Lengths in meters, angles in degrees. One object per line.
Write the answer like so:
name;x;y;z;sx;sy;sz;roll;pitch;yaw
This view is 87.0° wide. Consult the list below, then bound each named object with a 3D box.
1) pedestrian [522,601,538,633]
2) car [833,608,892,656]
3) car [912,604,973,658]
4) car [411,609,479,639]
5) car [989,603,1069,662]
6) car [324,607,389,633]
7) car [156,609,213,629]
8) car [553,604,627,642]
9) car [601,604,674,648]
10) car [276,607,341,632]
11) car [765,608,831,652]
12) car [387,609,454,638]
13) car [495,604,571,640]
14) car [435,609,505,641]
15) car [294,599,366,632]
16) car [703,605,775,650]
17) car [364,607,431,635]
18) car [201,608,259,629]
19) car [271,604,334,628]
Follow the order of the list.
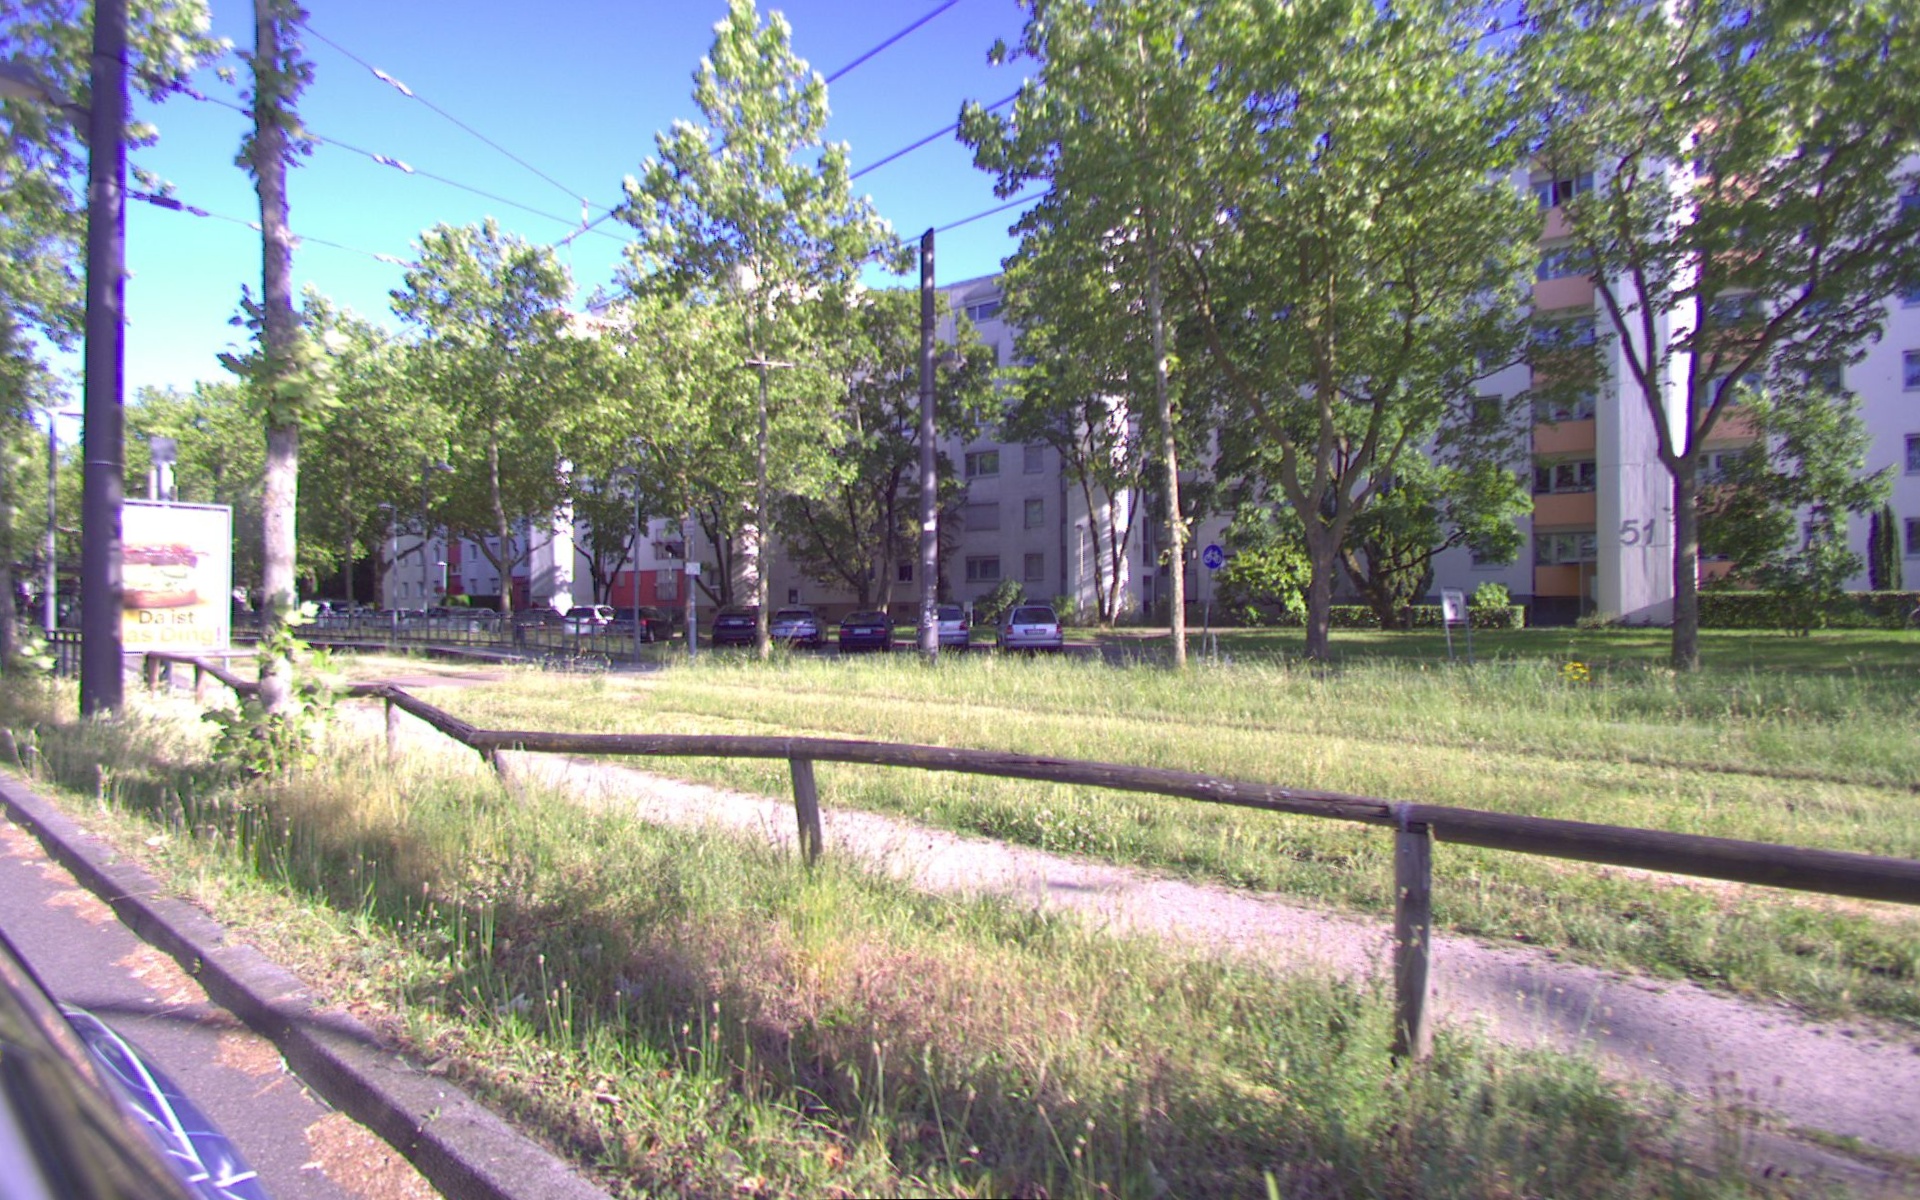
pedestrian;-27.393;1.095;64.490;0.644;2.029;0.673;-1;0;36
car;-3.126;1.005;33.078;1.653;1.398;4.051;-2;0;-2
car;-0.607;0.912;31.593;1.739;1.498;4.051;-2;0;-2
car;-27.513;1.250;54.208;1.769;1.510;4.053;-2;0;-4
car;1.887;0.864;28.747;1.788;1.498;4.051;-2;0;-2
car;-37.030;1.212;62.191;1.769;1.510;4.053;-2;0;-4
car;-64.826;1.567;84.662;1.769;1.510;4.053;-2;0;-4
car;-16.131;0.963;44.359;1.770;1.510;4.050;-2;0;-1
car;-13.368;1.040;42.206;1.770;1.676;4.050;-2;0;-1
car;-42.209;1.209;65.668;1.769;1.510;4.053;-2;0;-4
car;-5.601;1.008;35.412;1.769;1.398;4.051;-2;0;-2
car;-29.929;1.282;56.303;1.769;1.510;4.053;-2;0;-4
car;-19.491;0.990;46.349;1.770;1.510;4.050;-2;0;-1
car;-24.846;1.234;51.429;1.769;1.510;4.053;-2;0;-4
car;-39.549;0.953;63.649;1.992;1.933;4.436;-2;0;-4
car;-8.075;0.981;37.248;1.770;1.510;4.050;-2;0;-1
car;-32.136;1.179;57.945;1.769;1.510;4.053;-2;0;-4
car;-56.403;1.402;78.292;1.769;1.510;4.053;-2;0;-4
car;-44.319;1.031;68.319;1.769;1.510;4.053;-2;0;-4
